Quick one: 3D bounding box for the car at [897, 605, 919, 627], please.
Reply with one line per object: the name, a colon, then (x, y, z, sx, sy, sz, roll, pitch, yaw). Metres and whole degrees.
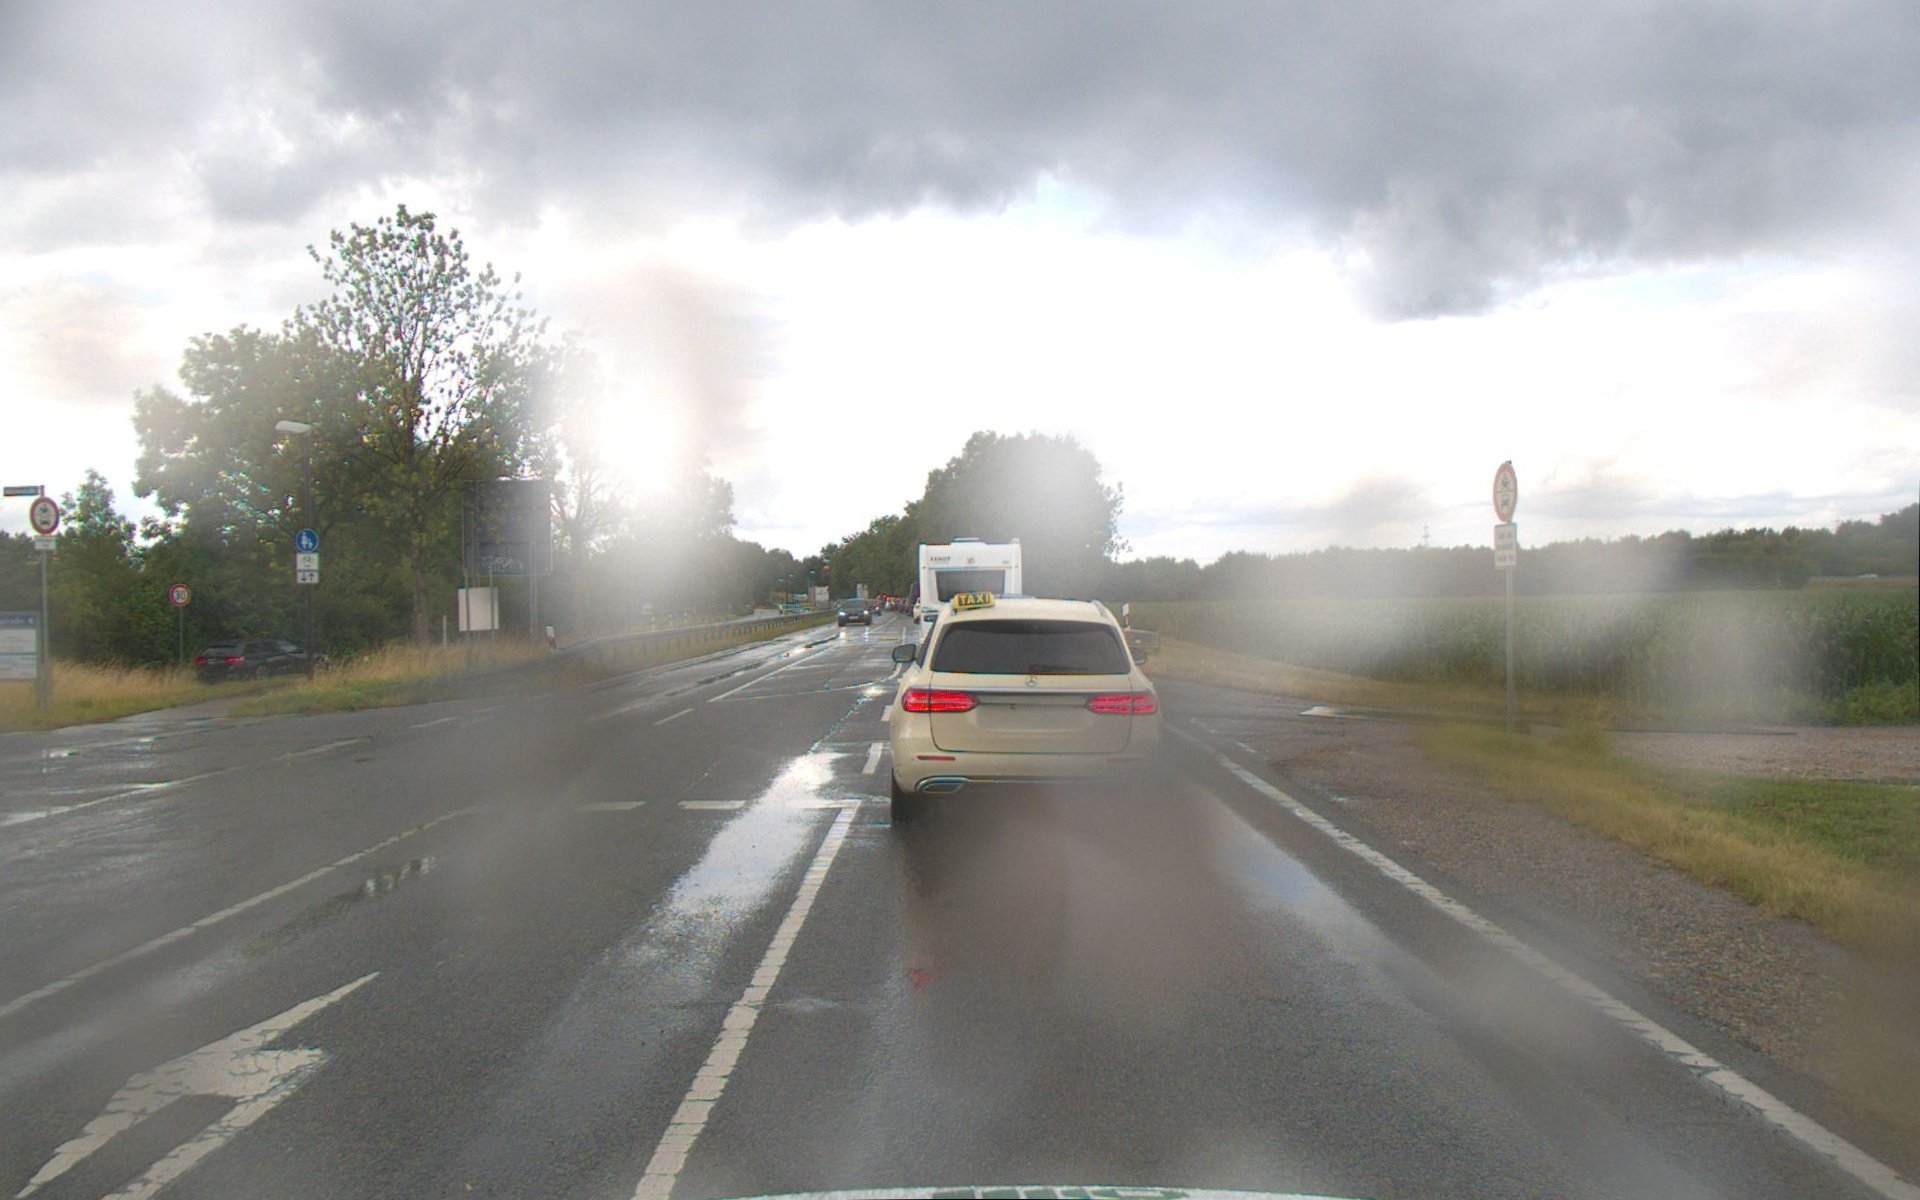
car: (-4.351, 1.341, 139.682, 1.755, 1.808, 3.720, -1, 0, -1)

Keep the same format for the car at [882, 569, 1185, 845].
car: (0.412, 0.640, 11.905, 1.805, 1.646, 3.999, 0, 0, -1)

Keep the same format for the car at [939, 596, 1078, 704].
car: (0.666, 0.717, 25.769, 1.953, 1.488, 3.999, 2, 0, -1)

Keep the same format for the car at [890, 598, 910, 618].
car: (-5.710, 0.748, 158.386, 1.841, 1.792, 3.833, -1, 0, -1)

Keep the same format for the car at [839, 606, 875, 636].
car: (-5.857, 1.162, 94.028, 1.791, 1.601, 3.999, 1, 0, 0)

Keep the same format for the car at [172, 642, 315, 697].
car: (-23.437, 2.247, 54.331, 2.253, 1.574, 4.636, 1, 0, 7)

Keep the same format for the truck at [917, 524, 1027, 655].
truck: (0.212, -0.244, 39.310, 2.315, 2.776, 7.313, -1, 0, -1)

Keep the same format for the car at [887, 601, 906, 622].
car: (-6.400, 1.111, 166.916, 1.814, 2.049, 3.810, -1, 0, -1)

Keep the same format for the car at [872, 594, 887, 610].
car: (-10.152, 0.208, 208.811, 1.858, 1.928, 3.840, -1, 0, -4)

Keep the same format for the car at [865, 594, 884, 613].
car: (-7.661, 0.314, 148.725, 1.548, 1.668, 3.441, -1, 0, -1)

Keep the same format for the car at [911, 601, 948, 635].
car: (-1.745, 1.013, 94.492, 1.876, 1.873, 3.796, -1, 0, 2)

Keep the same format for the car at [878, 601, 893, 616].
car: (-9.058, 1.010, 200.521, 1.714, 1.691, 3.669, -1, 0, -5)

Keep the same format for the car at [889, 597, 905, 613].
car: (-7.305, 0.574, 191.296, 1.705, 1.892, 3.784, -1, 0, -1)
